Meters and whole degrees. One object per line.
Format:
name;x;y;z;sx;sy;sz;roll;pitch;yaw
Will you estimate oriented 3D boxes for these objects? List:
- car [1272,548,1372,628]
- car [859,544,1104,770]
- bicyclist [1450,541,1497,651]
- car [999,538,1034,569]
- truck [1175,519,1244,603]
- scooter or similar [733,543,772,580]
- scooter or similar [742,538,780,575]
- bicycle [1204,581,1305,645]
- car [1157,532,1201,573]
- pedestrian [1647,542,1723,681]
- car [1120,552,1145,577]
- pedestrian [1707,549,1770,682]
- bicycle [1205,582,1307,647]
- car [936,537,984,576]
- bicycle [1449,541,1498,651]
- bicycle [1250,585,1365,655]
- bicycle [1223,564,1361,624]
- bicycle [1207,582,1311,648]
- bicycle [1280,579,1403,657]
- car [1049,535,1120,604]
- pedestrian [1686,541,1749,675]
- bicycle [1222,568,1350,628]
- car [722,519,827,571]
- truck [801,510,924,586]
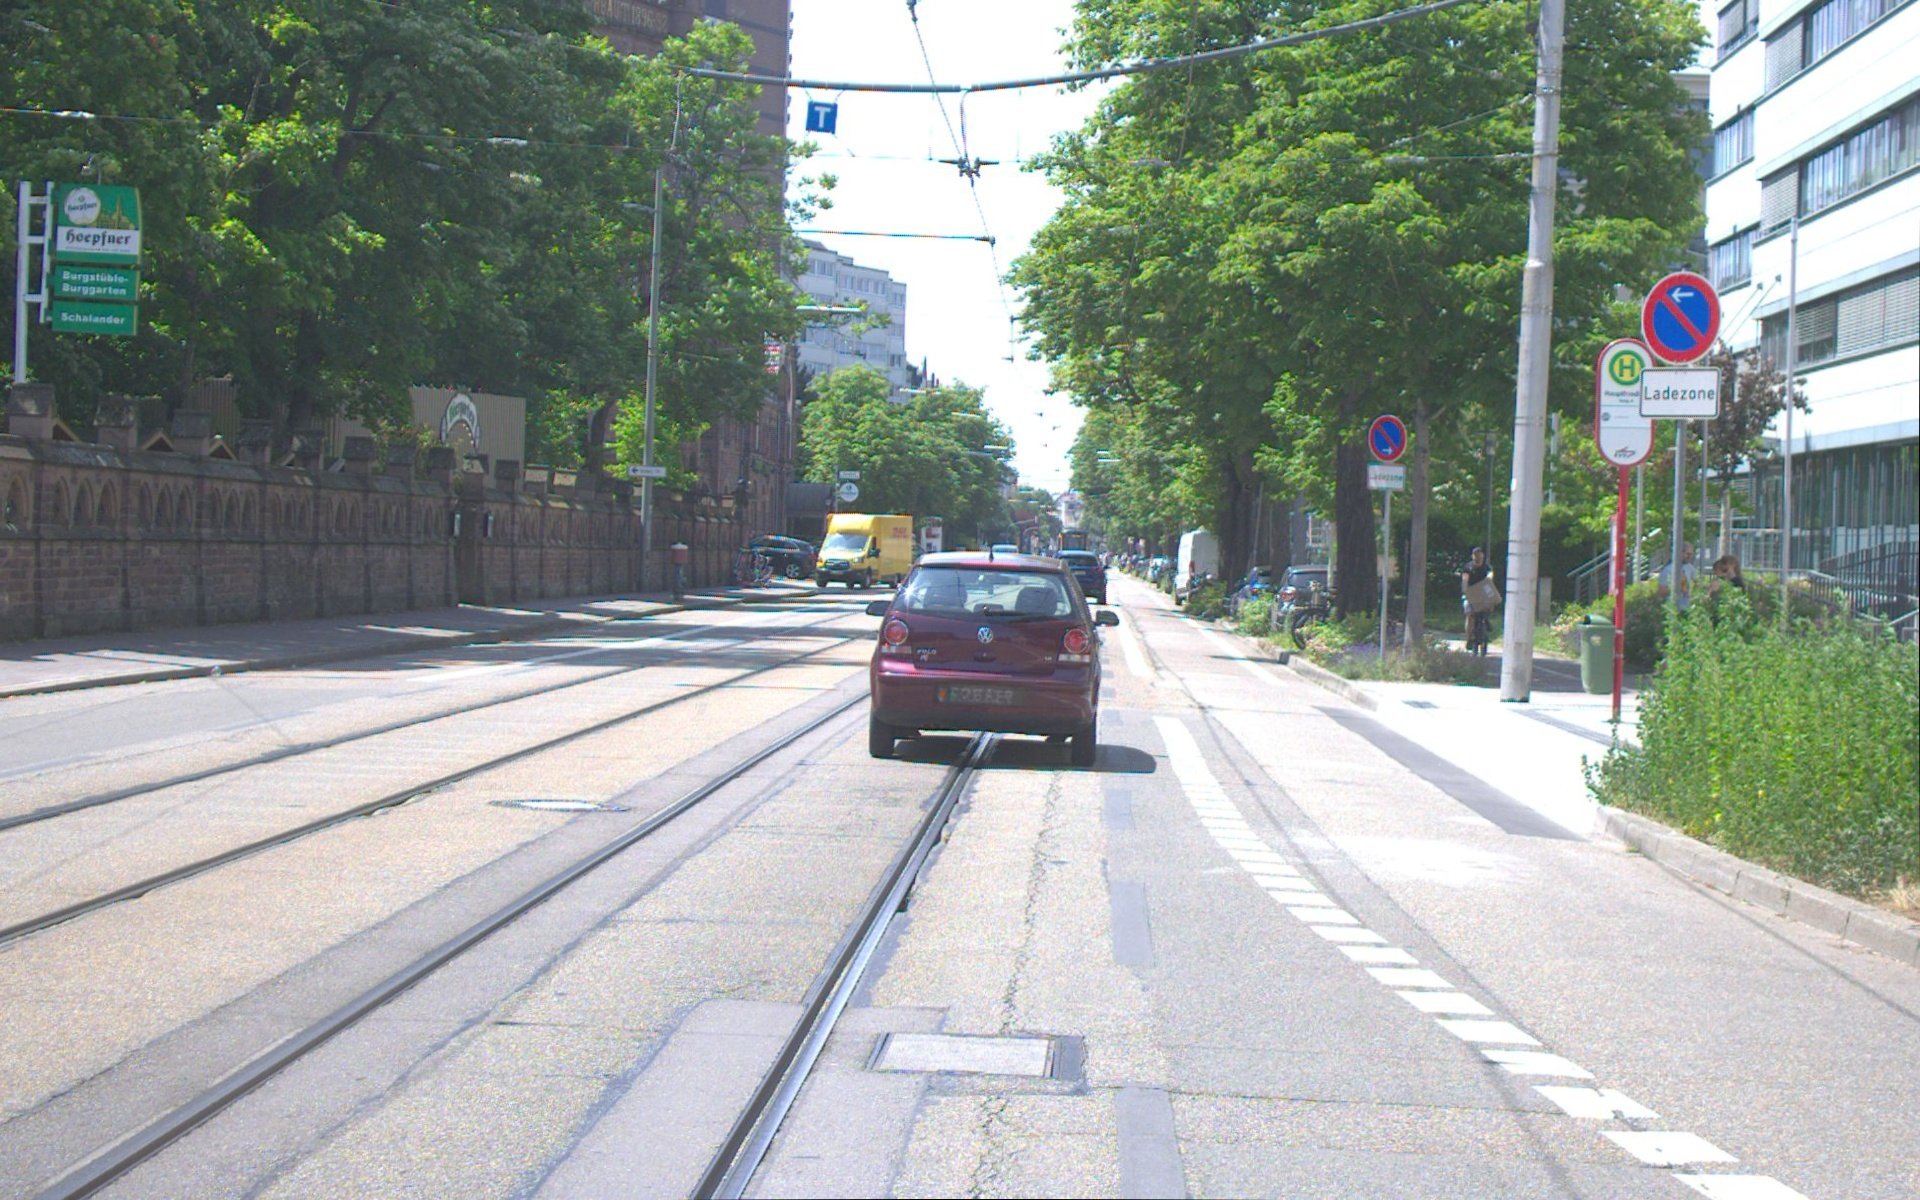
car;7.044;-0.250;67.115;1.688;1.498;3.627;1;1;2
car;0.202;0.357;25.405;1.619;1.481;4.000;2;1;2
bicyclist;8.460;-0.066;56.678;0.696;1.793;0.887;1;0;5
car;3.462;-2.856;210.465;1.994;1.848;4.682;2;1;2
truck;8.442;-1.347;116.654;1.994;2.652;4.875;3;1;2
scooter or similar;-6.729;-1.252;111.439;1.088;1.151;0.527;3;1;-18
scooter or similar;-6.587;-1.451;114.017;1.088;1.151;0.527;3;1;-18
bicycle;5.285;0.228;61.772;1.751;1.081;0.548;2;1;2
car;9.466;-2.079;148.691;1.674;1.650;4.000;3;1;2
pedestrian;9.469;0.142;44.908;0.677;1.790;0.675;0;1;-29
car;12.595;-2.611;250.731;1.674;1.650;4.000;3;1;2
pedestrian;10.057;0.194;44.433;0.537;1.709;0.566;0;0;-27
bicycle;5.257;0.250;61.125;1.751;1.081;0.548;2;1;2
car;0.007;-1.815;143.138;1.771;1.510;4.000;2;1;2
bicycle;8.466;-0.070;56.707;0.690;1.779;1.810;1;0;5
bicycle;5.673;0.323;56.137;1.825;1.081;0.718;2;0;6
bicycle;8.454;-0.152;87.615;3.367;1.308;0.782;3;1;1
bicycle;5.238;0.255;60.225;1.751;1.081;0.548;2;1;2
bicycle;6.100;0.286;55.035;1.883;1.178;0.694;2;0;2
car;3.888;-0.993;108.205;1.993;2.007;4.000;3;1;0
pedestrian;9.705;0.103;44.034;0.537;1.709;0.566;0;0;-27
bicycle;8.164;-0.053;86.172;3.070;1.308;0.782;3;1;1
car;-7.603;-2.255;141.032;3.988;2.007;2.000;2;1;7
truck;-3.720;-1.964;133.142;2.372;2.777;7.313;2;1;18
